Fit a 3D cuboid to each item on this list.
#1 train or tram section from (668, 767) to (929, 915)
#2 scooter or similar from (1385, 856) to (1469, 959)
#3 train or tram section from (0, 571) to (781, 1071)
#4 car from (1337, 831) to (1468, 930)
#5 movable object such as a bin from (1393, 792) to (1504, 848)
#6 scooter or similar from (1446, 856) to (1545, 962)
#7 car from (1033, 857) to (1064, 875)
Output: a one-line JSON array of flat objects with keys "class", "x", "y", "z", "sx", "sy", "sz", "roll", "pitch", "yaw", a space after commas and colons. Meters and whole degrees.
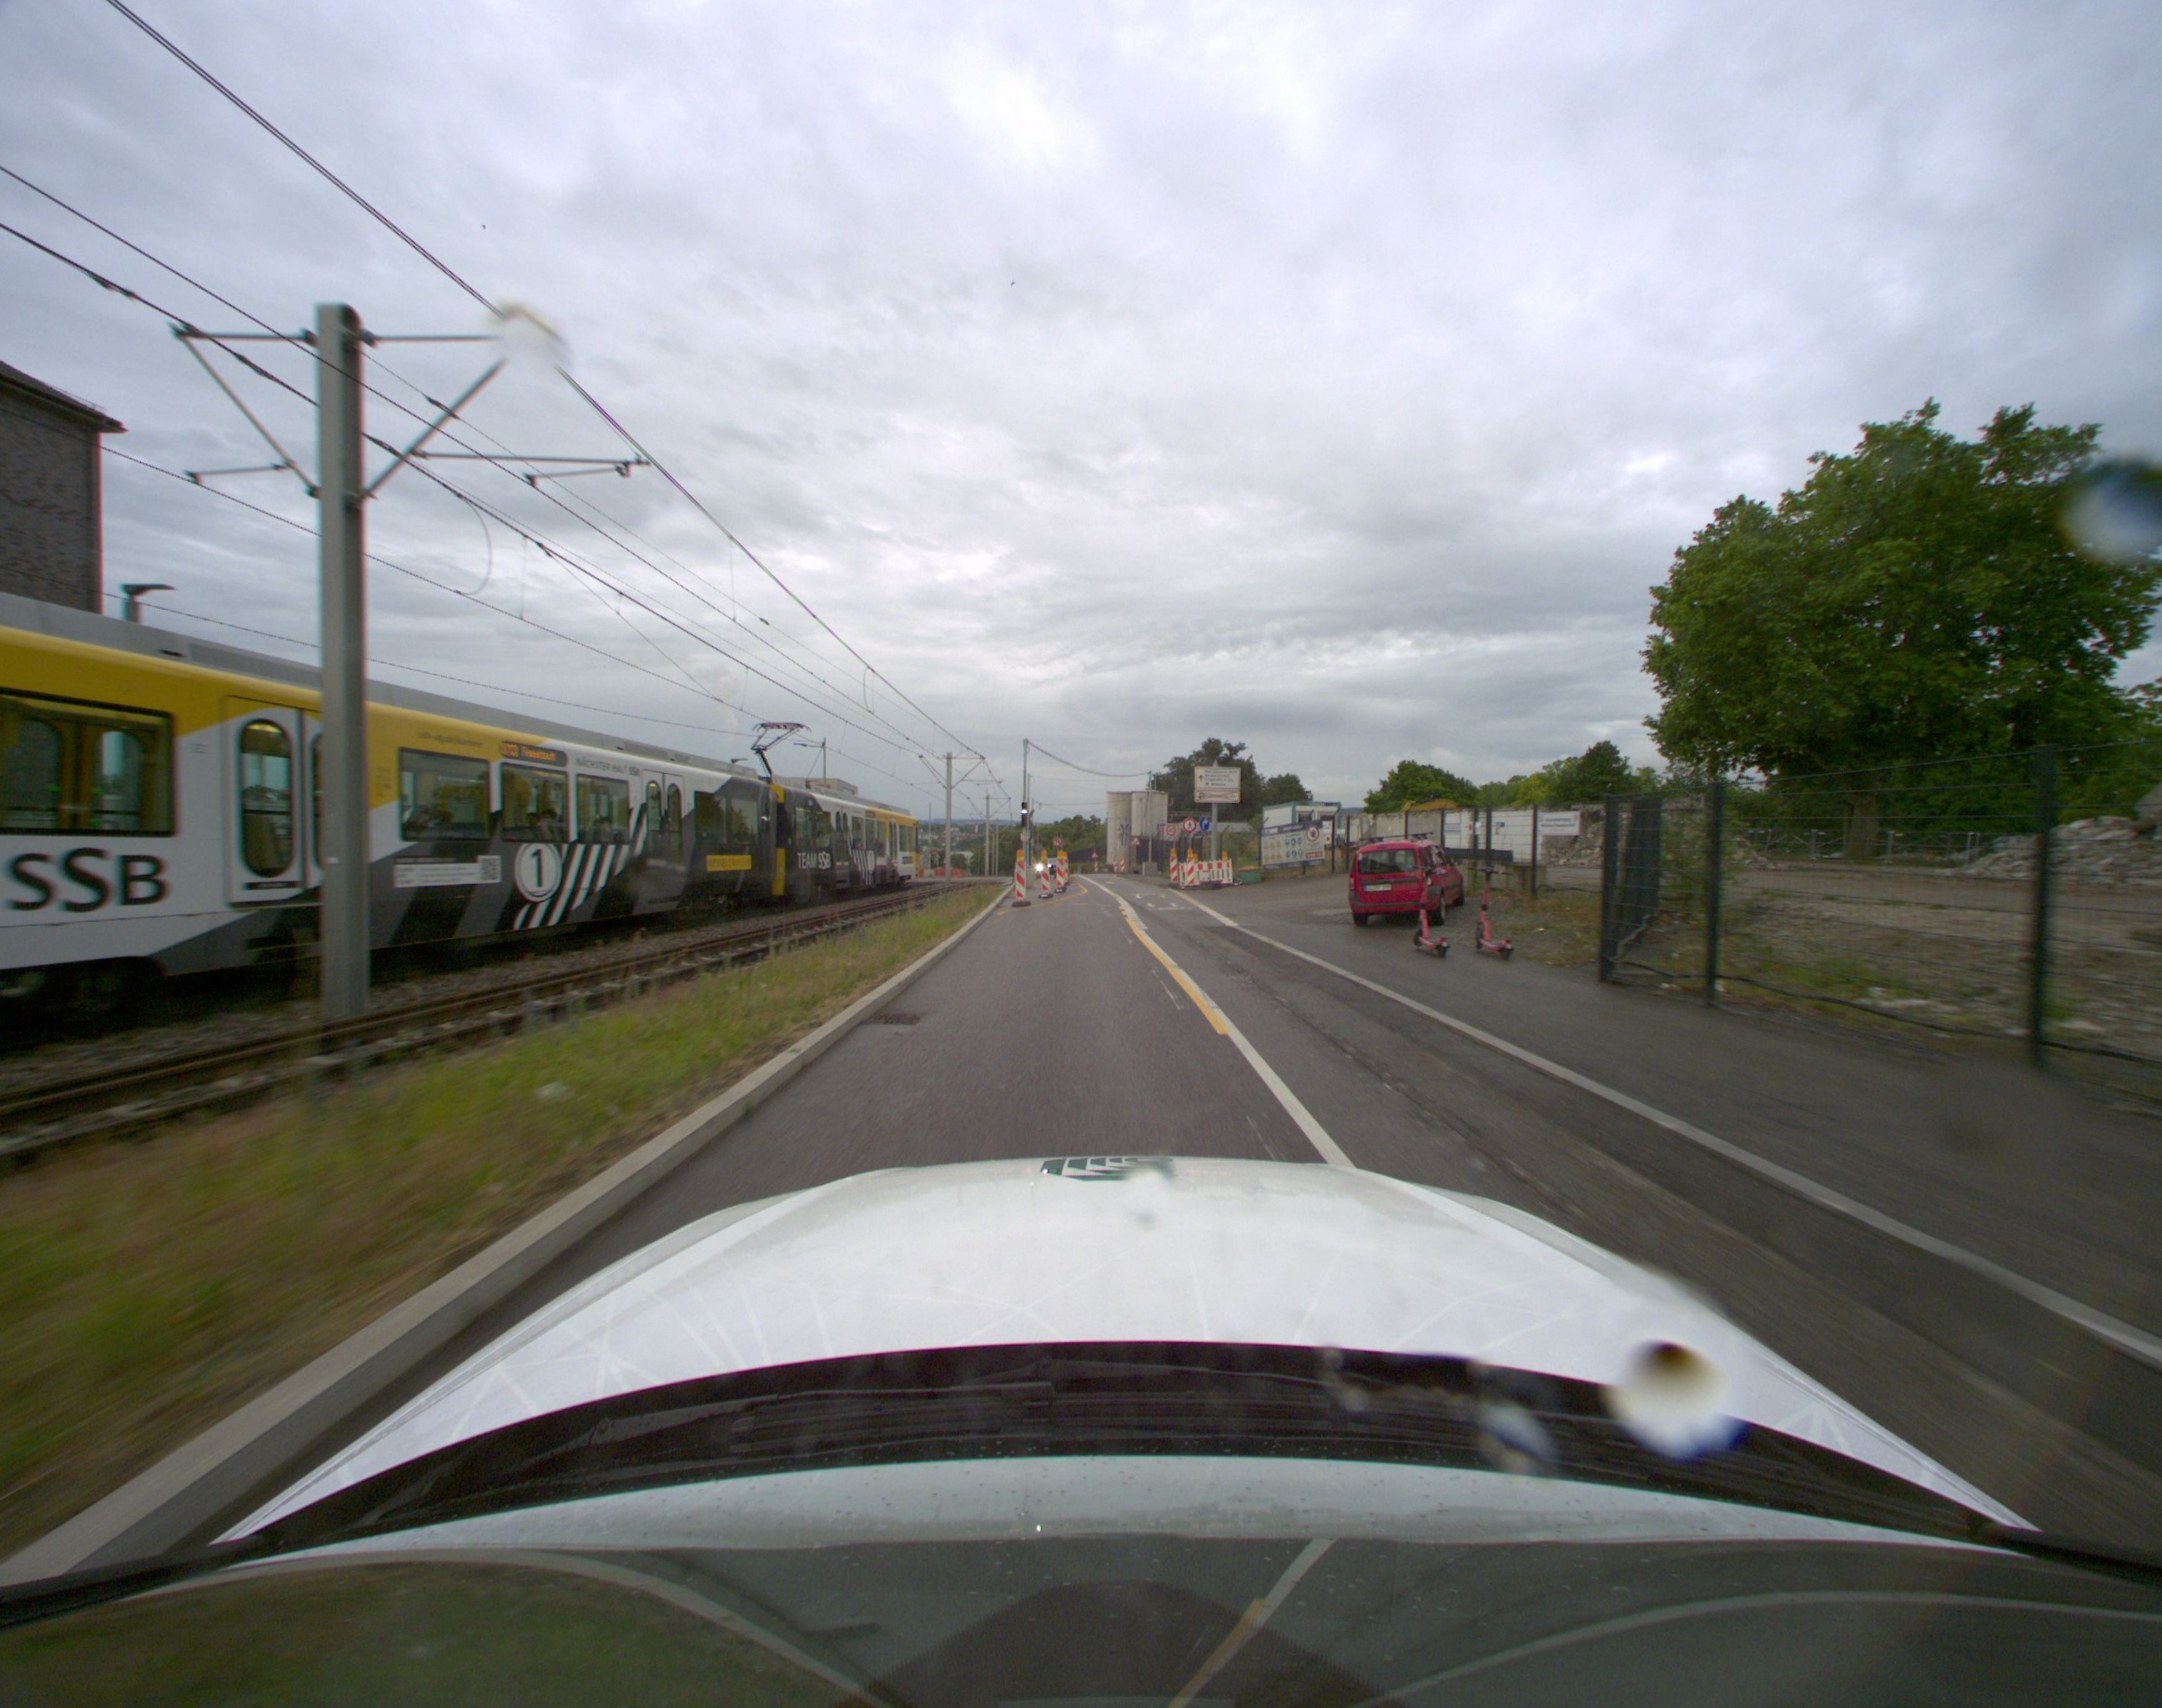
[{"class": "train or tram section", "x": -9.267, "y": -0.368, "z": 31.157, "sx": 2.945, "sy": 3.886, "sz": 19.292, "roll": 1, "pitch": 0, "yaw": 1}, {"class": "scooter or similar", "x": 4.964, "y": 0.712, "z": 11.805, "sx": 0.611, "sy": 1.351, "sz": 1.916, "roll": -1, "pitch": 0, "yaw": 7}, {"class": "train or tram section", "x": -9.718, "y": -0.283, "z": 11.709, "sx": 2.944, "sy": 3.886, "sz": 19.580, "roll": 1, "pitch": 0, "yaw": 2}, {"class": "car", "x": 6.871, "y": 0.460, "z": 17.117, "sx": 1.802, "sy": 1.794, "sz": 4.436, "roll": 0, "pitch": 0, "yaw": 31}, {"class": "movable object such as a bin", "x": 42.320, "y": -3.862, "z": 94.194, "sx": 11.167, "sy": 5.995, "sz": 3.499, "roll": -1, "pitch": -1, "yaw": 8}, {"class": "scooter or similar", "x": 5.783, "y": 0.707, "z": 11.478, "sx": 0.611, "sy": 1.351, "sz": 1.916, "roll": -1, "pitch": 0, "yaw": 7}, {"class": "car", "x": -3.218, "y": 1.130, "z": 79.268, "sx": 1.998, "sy": 1.678, "sz": 4.463, "roll": -1, "pitch": -1, "yaw": -17}]
